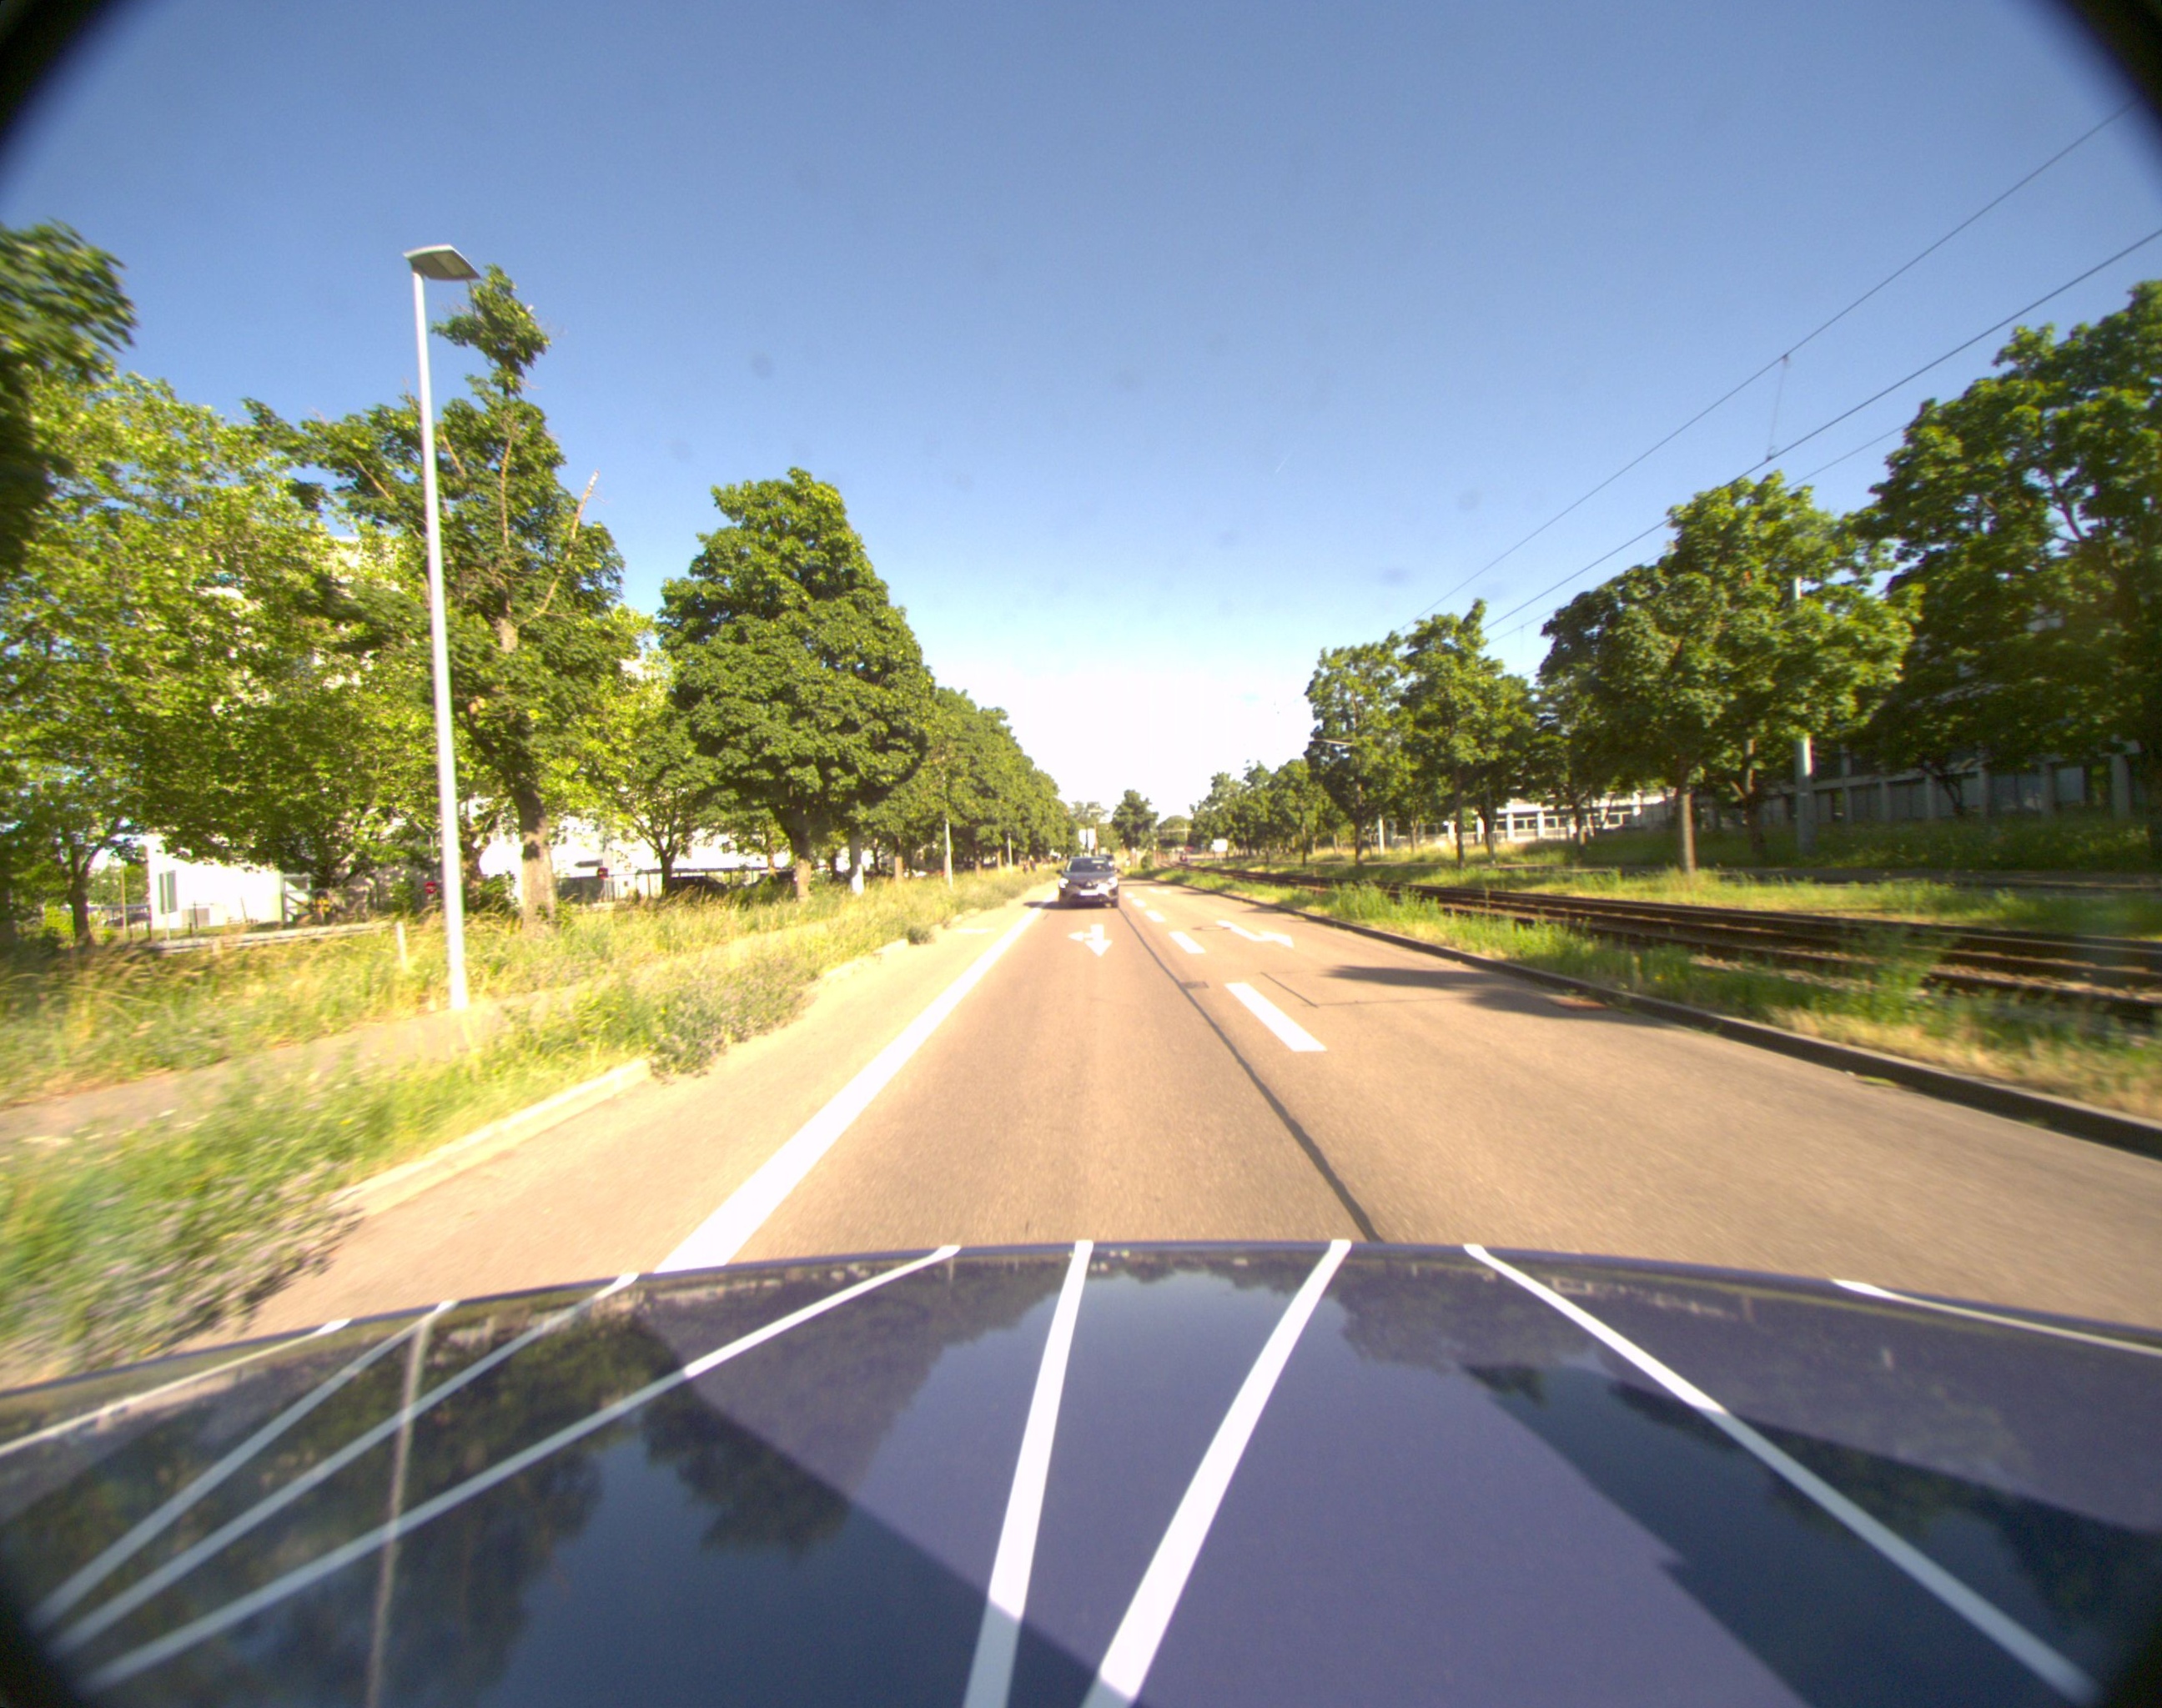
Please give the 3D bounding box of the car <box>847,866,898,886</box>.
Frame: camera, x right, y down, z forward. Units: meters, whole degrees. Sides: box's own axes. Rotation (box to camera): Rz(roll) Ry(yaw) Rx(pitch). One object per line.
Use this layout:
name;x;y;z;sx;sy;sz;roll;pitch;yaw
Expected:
car;-18.594;1.960;67.974;4.004;1.516;1.706;-3;0;0

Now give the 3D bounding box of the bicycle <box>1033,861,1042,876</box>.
bicycle;-3.784;1.266;66.303;0.484;1.197;2.144;-3;0;3

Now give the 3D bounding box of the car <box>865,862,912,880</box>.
car;-20.302;1.762;80.201;4.403;1.587;1.884;-3;0;0

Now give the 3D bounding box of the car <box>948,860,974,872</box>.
car;-18.114;1.765;114.736;3.977;1.629;1.727;-3;0;43

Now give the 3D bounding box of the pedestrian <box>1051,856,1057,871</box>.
pedestrian;-3.520;1.227;99.486;0.709;1.906;0.816;-3;1;-1

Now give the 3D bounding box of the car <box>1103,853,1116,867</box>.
car;3.588;0.734;95.934;1.555;1.764;3.457;-2;0;3

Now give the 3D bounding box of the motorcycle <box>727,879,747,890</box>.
motorcycle;-33.241;2.932;73.407;1.653;0.965;0.538;-3;0;2

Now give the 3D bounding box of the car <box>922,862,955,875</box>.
car;-19.264;1.975;102.665;4.243;1.527;1.765;-2;0;-6

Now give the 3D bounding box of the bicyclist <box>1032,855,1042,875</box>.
bicyclist;-3.840;0.953;66.292;0.684;1.710;0.902;-3;1;3

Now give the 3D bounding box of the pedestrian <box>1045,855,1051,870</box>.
pedestrian;-4.333;1.169;99.461;0.710;1.919;0.816;-3;1;-3

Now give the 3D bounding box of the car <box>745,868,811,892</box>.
car;-21.923;1.886;55.108;4.039;1.496;1.738;-3;0;4

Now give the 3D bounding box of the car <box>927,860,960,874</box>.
car;-18.936;1.759;104.795;4.348;1.690;1.765;-2;0;-6

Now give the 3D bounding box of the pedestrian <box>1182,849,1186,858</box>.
pedestrian;20.558;-0.127;151.750;0.785;1.741;0.782;-3;0;3

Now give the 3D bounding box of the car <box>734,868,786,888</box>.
car;-35.079;2.595;83.173;4.760;1.938;1.975;-3;0;2

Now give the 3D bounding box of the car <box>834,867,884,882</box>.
car;-21.977;2.011;75.441;4.301;1.316;1.941;-2;-1;8

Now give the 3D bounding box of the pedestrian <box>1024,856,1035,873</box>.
pedestrian;-4.858;1.018;71.765;0.826;1.560;0.762;-3;0;4

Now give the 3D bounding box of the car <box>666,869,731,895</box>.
car;-33.011;2.398;65.699;4.595;2.002;1.958;-3;0;4

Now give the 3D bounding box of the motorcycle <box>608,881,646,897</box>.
motorcycle;-44.892;3.448;75.192;3.042;1.313;1.016;-3;0;-3

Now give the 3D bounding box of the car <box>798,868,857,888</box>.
car;-21.186;2.001;63.617;4.174;1.423;1.825;-3;0;6

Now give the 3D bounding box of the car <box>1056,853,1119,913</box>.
car;0.297;0.851;24.275;1.750;1.585;4.247;-3;1;3

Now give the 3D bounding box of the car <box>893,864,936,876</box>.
car;-20.021;1.906;91.530;4.709;1.263;1.808;-2;-1;0
